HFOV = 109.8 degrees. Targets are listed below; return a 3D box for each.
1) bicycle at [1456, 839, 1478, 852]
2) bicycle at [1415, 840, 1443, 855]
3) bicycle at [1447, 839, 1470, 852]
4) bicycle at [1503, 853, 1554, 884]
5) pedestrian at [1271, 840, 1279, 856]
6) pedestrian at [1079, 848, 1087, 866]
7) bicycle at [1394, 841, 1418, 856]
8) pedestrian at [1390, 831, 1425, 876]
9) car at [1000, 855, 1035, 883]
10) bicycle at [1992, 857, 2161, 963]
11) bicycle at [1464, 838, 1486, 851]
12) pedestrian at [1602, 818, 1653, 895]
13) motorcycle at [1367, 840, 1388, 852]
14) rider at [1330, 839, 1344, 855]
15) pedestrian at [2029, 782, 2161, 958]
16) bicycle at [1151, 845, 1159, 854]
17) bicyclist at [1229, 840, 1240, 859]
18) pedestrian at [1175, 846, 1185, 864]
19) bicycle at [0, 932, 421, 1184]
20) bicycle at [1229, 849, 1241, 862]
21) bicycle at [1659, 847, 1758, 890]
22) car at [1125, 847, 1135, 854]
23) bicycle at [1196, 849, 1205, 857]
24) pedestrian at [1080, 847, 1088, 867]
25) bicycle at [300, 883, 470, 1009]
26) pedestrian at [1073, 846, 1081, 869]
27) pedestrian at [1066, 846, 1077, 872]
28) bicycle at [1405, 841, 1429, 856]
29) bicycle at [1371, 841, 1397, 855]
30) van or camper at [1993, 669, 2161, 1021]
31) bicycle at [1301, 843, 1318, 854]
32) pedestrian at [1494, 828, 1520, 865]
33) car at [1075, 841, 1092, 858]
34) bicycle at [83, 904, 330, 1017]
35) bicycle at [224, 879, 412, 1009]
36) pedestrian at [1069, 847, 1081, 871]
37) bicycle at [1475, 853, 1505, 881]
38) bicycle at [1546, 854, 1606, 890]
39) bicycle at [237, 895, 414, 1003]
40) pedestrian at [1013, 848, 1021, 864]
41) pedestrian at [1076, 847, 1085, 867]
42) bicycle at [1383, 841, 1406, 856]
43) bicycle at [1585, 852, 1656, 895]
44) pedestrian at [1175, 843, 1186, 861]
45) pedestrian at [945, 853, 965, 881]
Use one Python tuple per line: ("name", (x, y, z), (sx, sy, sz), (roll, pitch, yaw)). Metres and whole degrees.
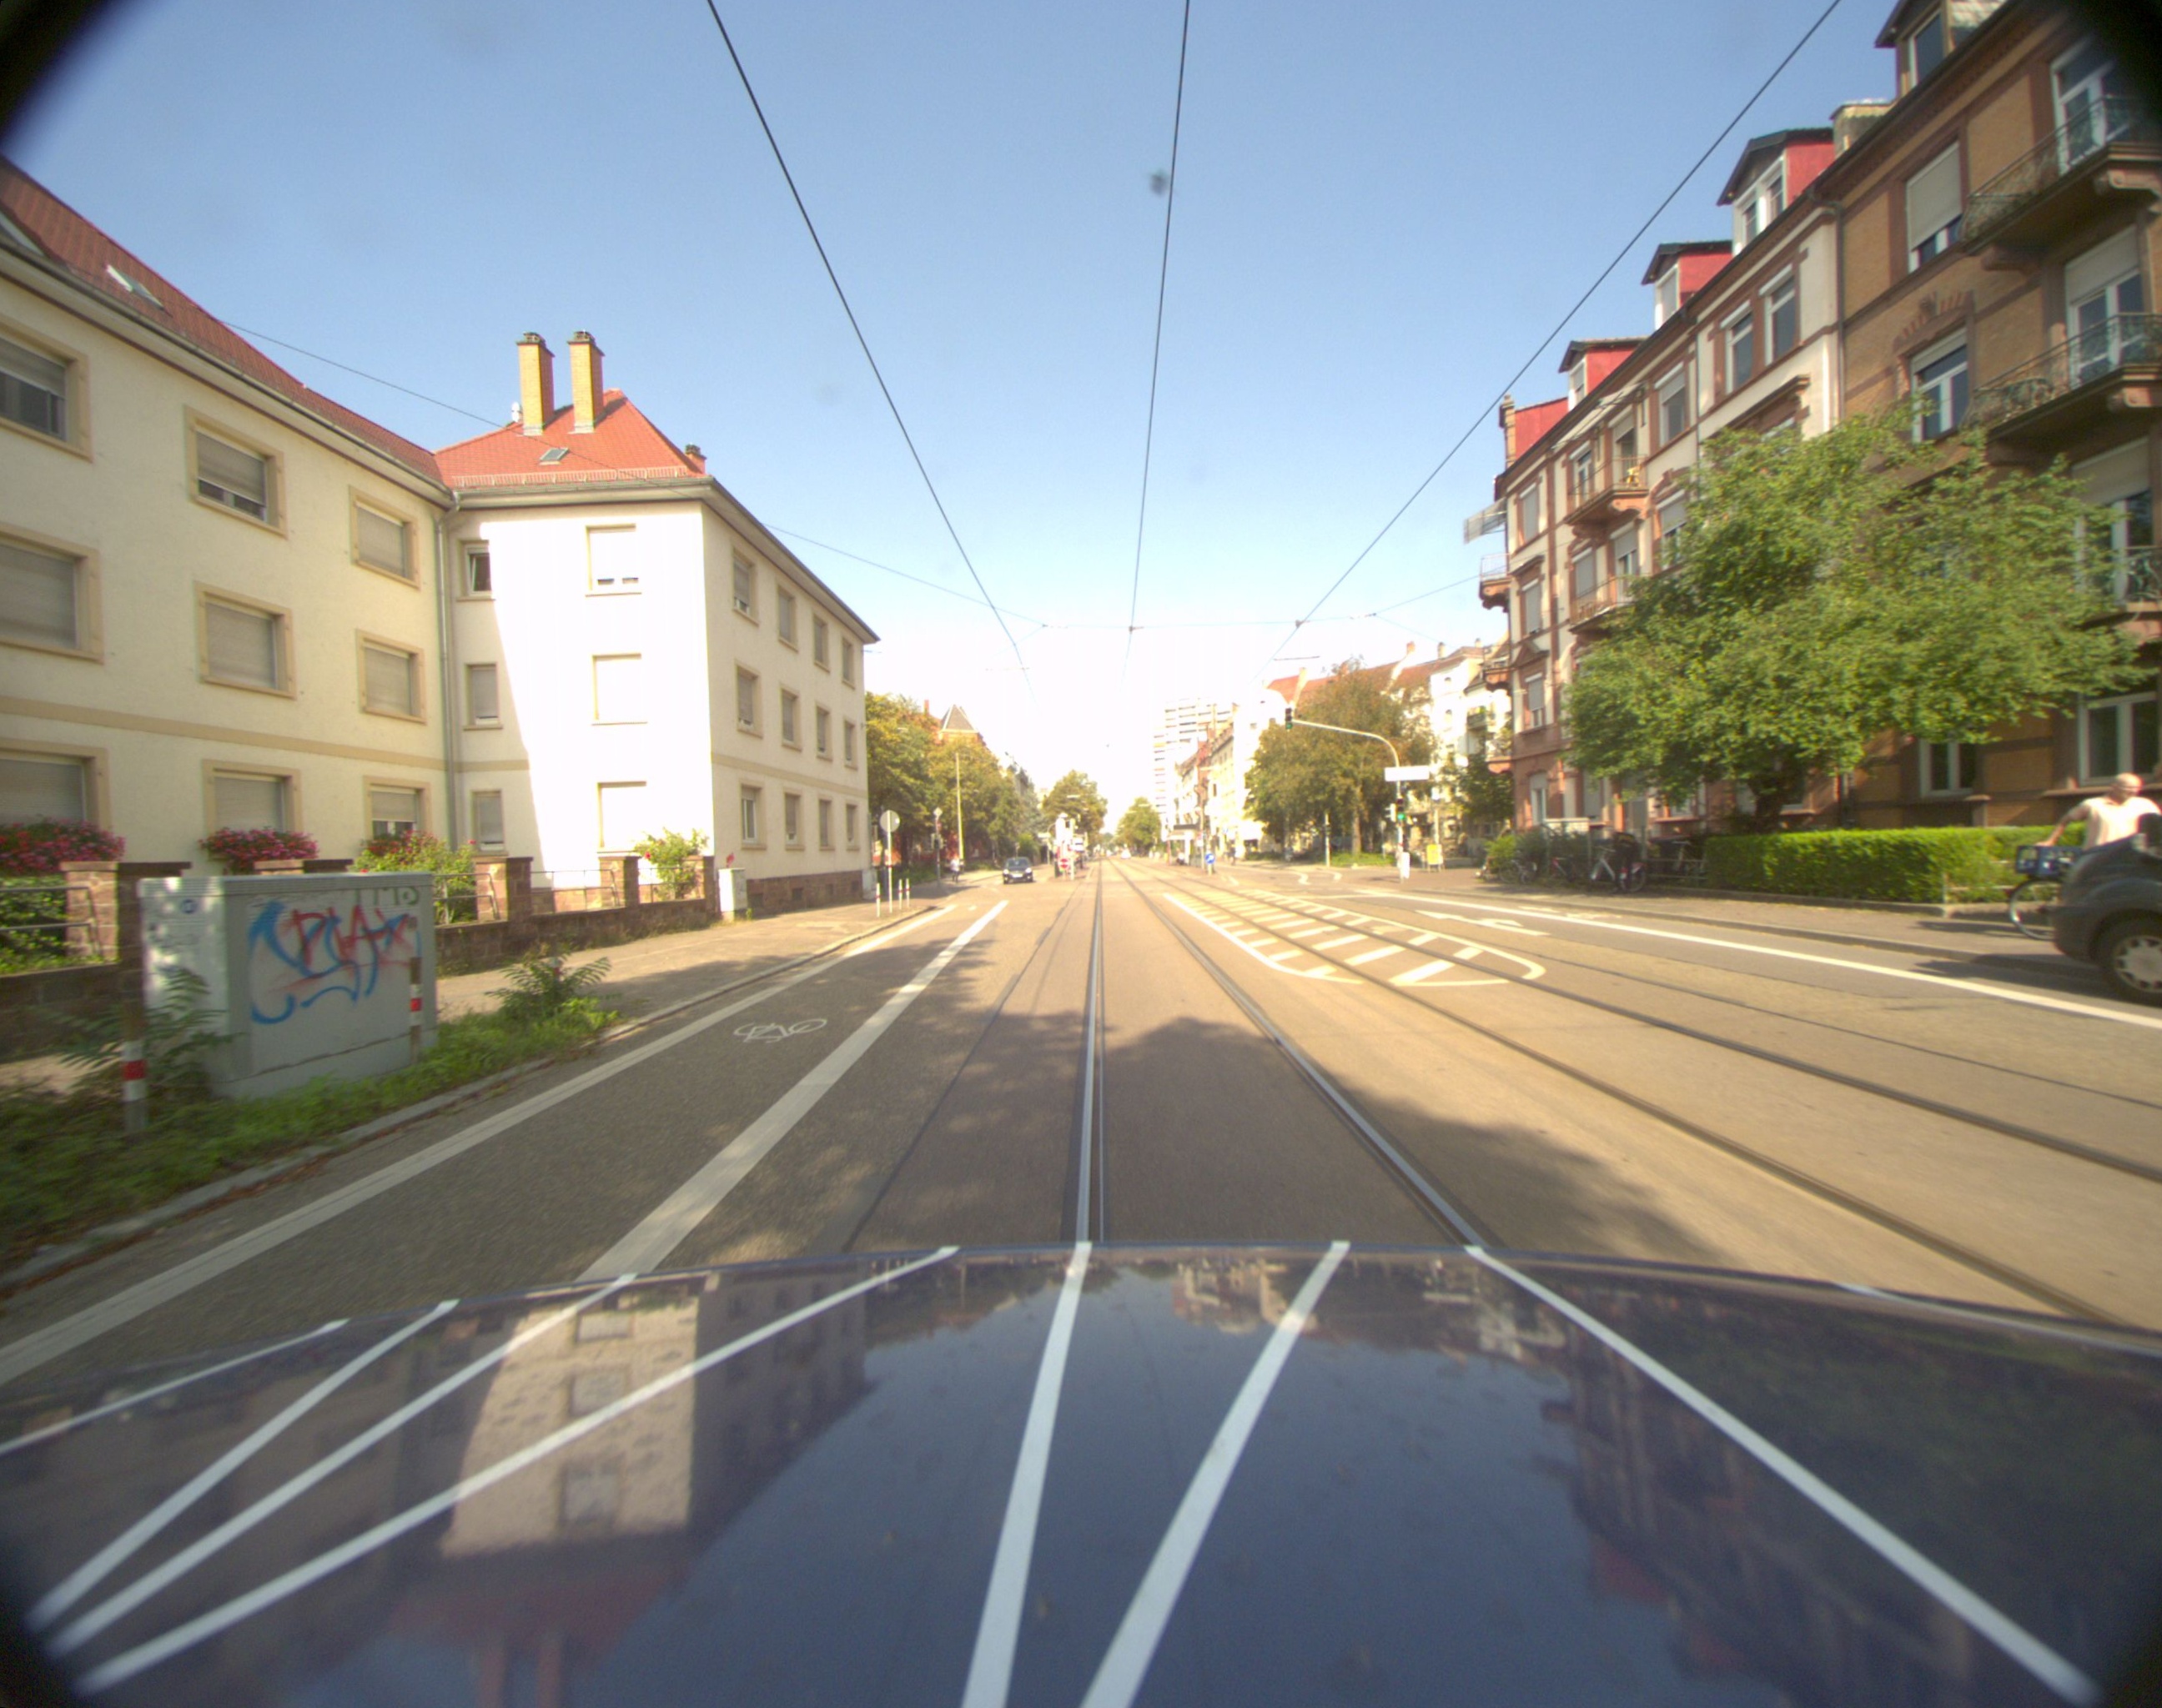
("bicycle", (33.826, -0.748, 66.594), (0.656, 1.097, 2.333), (-2, 1, -1))
("bicycle", (32.756, -0.592, 71.469), (2.303, 1.363, 0.867), (-2, 1, -10))
("bicycle", (33.061, -0.778, 66.572), (0.773, 1.097, 2.333), (-2, 1, -1))
("bicycle", (13.104, 0.408, 22.288), (0.527, 0.855, 1.828), (-2, 0, 5))
("pedestrian", (22.849, -0.731, 89.547), (0.735, 1.857, 0.673), (-2, 1, -2))
("pedestrian", (0.202, 0.279, 65.113), (0.590, 1.536, 0.607), (-2, 1, 4))
("bicycle", (31.693, -0.513, 74.147), (2.306, 1.363, 0.866), (-2, 1, -27))
("pedestrian", (13.200, -0.036, 30.745), (0.906, 1.756, 1.186), (-2, 1, 5))
("car", (-3.581, 0.821, 43.424), (1.776, 1.459, 3.999), (-3, 0, -3))
("bicycle", (10.923, 0.559, 7.786), (0.620, 1.001, 2.150), (-2, 0, 1))
("bicycle", (34.570, -0.790, 66.637), (0.656, 1.097, 2.333), (-2, 1, -1))
("pedestrian", (12.323, 0.054, 17.146), (0.639, 1.668, 0.633), (-2, 1, -10))
("motorcycle", (30.375, -0.836, 77.800), (1.884, 1.170, 0.677), (-3, 1, -13))
("rider", (25.179, -0.649, 74.748), (0.996, 1.503, 1.114), (-3, 1, 5))
("pedestrian", (11.382, 0.145, 8.272), (0.729, 1.796, 1.093), (-2, 1, 0))
("bicycle", (15.738, -0.891, 160.973), (1.015, 1.847, 3.554), (-4, 1, -4))
("bicyclist", (13.437, -0.393, 66.543), (0.674, 1.605, 1.044), (-2, 1, 4))
("pedestrian", (8.316, 0.087, 63.950), (0.678, 1.448, 0.718), (-2, 1, 2))
("bicycle", (-5.976, 1.226, 5.245), (0.773, 1.097, 2.333), (-2, 0, -1))
("bicycle", (13.478, 0.089, 66.607), (0.685, 1.097, 2.069), (-2, 0, 4))
("bicycle", (13.736, 0.309, 16.657), (1.701, 0.855, 0.528), (-2, 1, 2))
("car", (9.887, -0.674, 153.551), (1.732, 1.426, 3.922), (-2, 0, 2))
("bicycle", (16.064, -0.120, 101.920), (0.545, 1.097, 1.895), (-2, 0, -12))
("pedestrian", (0.258, 0.273, 65.757), (0.590, 1.711, 0.607), (-2, 1, 4))
("bicycle", (-9.259, 1.165, 10.206), (0.455, 1.446, 1.740), (-3, 1, 6))
("pedestrian", (-0.305, 0.287, 59.687), (0.553, 1.750, 0.533), (-2, 1, 0))
("pedestrian", (-0.647, 0.345, 52.290), (0.691, 1.756, 0.796), (-2, 1, 0))
("bicycle", (32.288, -0.559, 72.962), (2.306, 1.363, 0.866), (-2, 1, -27))
("bicycle", (30.681, -0.605, 76.922), (2.303, 1.363, 0.867), (-2, 1, -9))
("van or camper", (8.830, -0.046, 3.720), (2.054, 2.629, 6.092), (-1, 1, 8))
("bicycle", (25.293, -0.628, 84.057), (2.345, 1.073, 0.695), (-4, 2, -41))
("pedestrian", (18.399, -0.330, 32.776), (0.840, 1.562, 0.947), (-2, 1, 35))
("car", (0.388, -0.583, 104.481), (2.087, 2.264, 4.828), (-2, 0, 3))
("bicycle", (-11.072, 1.296, 9.754), (0.522, 1.119, 2.029), (-3, 1, 12))
("bicycle", (-9.775, 1.094, 9.841), (0.455, 1.446, 1.740), (-3, 1, 6))
("pedestrian", (-0.423, 0.343, 55.574), (0.769, 1.750, 0.680), (-2, 1, 0))
("bicycle", (13.999, 0.433, 25.974), (0.526, 0.855, 1.831), (-2, 1, 40))
("bicycle", (12.600, 0.444, 19.391), (0.527, 0.855, 1.703), (-2, 0, 5))
("bicycle", (-10.140, 1.225, 10.297), (0.455, 1.209, 1.740), (-3, 1, 6))
("pedestrian", (-6.943, 0.182, 82.664), (0.543, 1.708, 0.662), (-2, 1, 17))
("pedestrian", (-0.038, 0.264, 67.173), (0.638, 1.738, 0.634), (-2, 1, 4))
("bicycle", (31.238, -0.537, 75.695), (2.306, 1.363, 0.866), (-2, 1, -27))
("bicycle", (12.521, 0.425, 17.698), (0.527, 0.922, 1.703), (-2, 0, 5))
("pedestrian", (8.240, -0.162, 62.873), (0.794, 1.448, 0.718), (-2, 1, 2))
("pedestrian", (-7.924, 0.835, 47.873), (1.079, 1.715, 0.969), (1, 1, 1))
